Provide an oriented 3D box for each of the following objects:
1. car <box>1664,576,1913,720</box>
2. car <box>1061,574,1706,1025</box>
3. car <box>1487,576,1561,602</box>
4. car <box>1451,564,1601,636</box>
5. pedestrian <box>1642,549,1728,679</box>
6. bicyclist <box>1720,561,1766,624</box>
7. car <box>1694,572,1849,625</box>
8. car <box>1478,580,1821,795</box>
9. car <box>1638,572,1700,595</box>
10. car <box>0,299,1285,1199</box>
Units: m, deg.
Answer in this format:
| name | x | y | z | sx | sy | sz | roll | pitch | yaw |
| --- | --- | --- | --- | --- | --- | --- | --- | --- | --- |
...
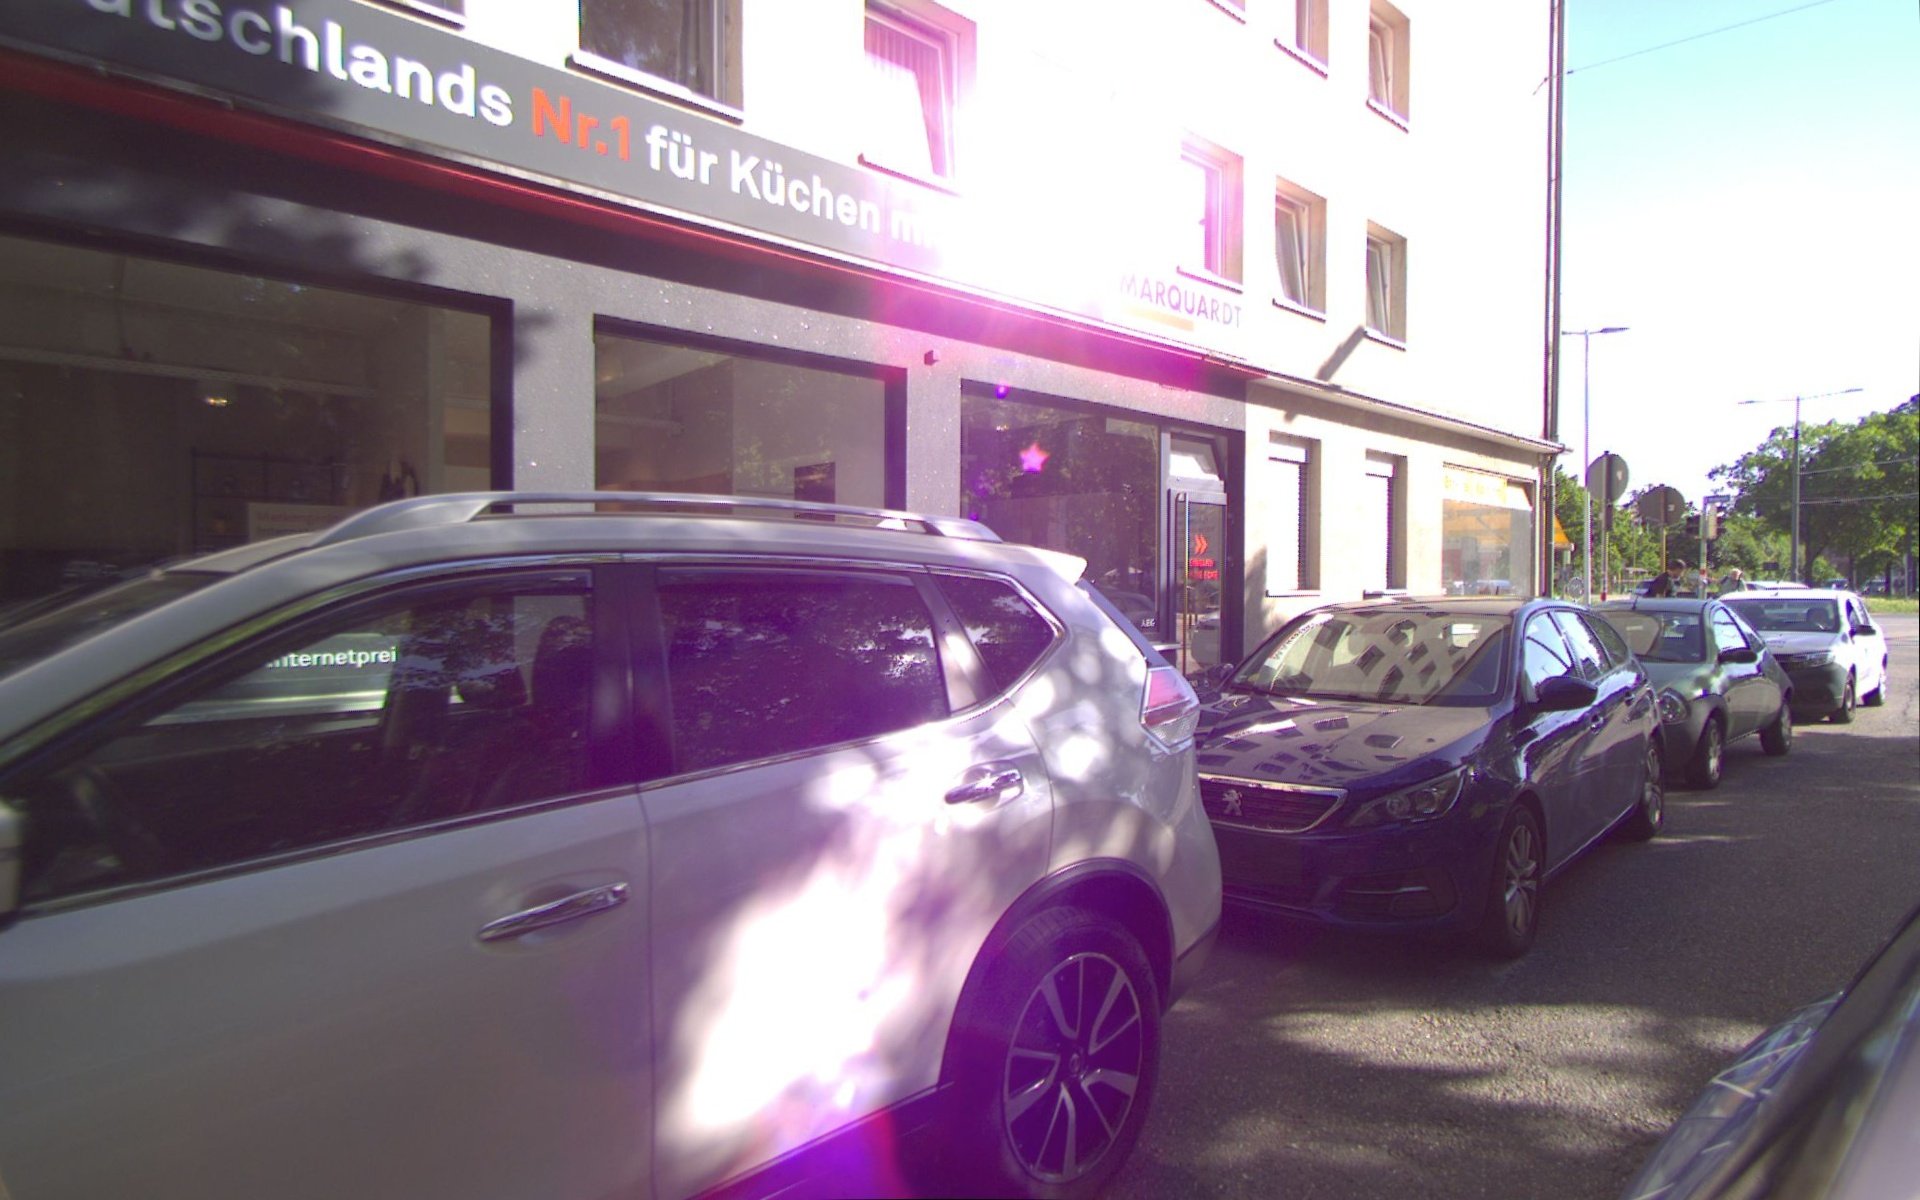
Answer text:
| name | x | y | z | sx | sy | sz | roll | pitch | yaw |
| --- | --- | --- | --- | --- | --- | --- | --- | --- | --- |
| car | 10.402 | 0.466 | 12.620 | 3.952 | 1.516 | 1.722 | -1 | 1 | -40 |
| car | 2.612 | 0.606 | 5.533 | 1.802 | 1.481 | 4.370 | 1 | 1 | 44 |
| car | 32.431 | -0.647 | 58.136 | 4.398 | 1.474 | 1.875 | -1 | 1 | -33 |
| car | 15.280 | -0.051 | 27.630 | 1.840 | 1.797 | 4.480 | 0 | 1 | 4 |
| pedestrian | 10.050 | 0.175 | 14.041 | 0.731 | 1.743 | 0.761 | 0 | 1 | -35 |
| bicyclist | 19.976 | -0.208 | 25.833 | 0.820 | 1.583 | 0.590 | 1 | 1 | 27 |
| car | 25.505 | -0.102 | 32.059 | 1.896 | 1.537 | 5.015 | 0 | 1 | 15 |
| car | 6.118 | 0.578 | 8.845 | 3.608 | 1.481 | 1.599 | -1 | 1 | -41 |
| car | 46.866 | -1.106 | 66.872 | 4.398 | 1.474 | 1.875 | -1 | 1 | -33 |
| car | -1.248 | 0.541 | 2.116 | 4.434 | 1.775 | 1.764 | -1 | 1 | -43 |
